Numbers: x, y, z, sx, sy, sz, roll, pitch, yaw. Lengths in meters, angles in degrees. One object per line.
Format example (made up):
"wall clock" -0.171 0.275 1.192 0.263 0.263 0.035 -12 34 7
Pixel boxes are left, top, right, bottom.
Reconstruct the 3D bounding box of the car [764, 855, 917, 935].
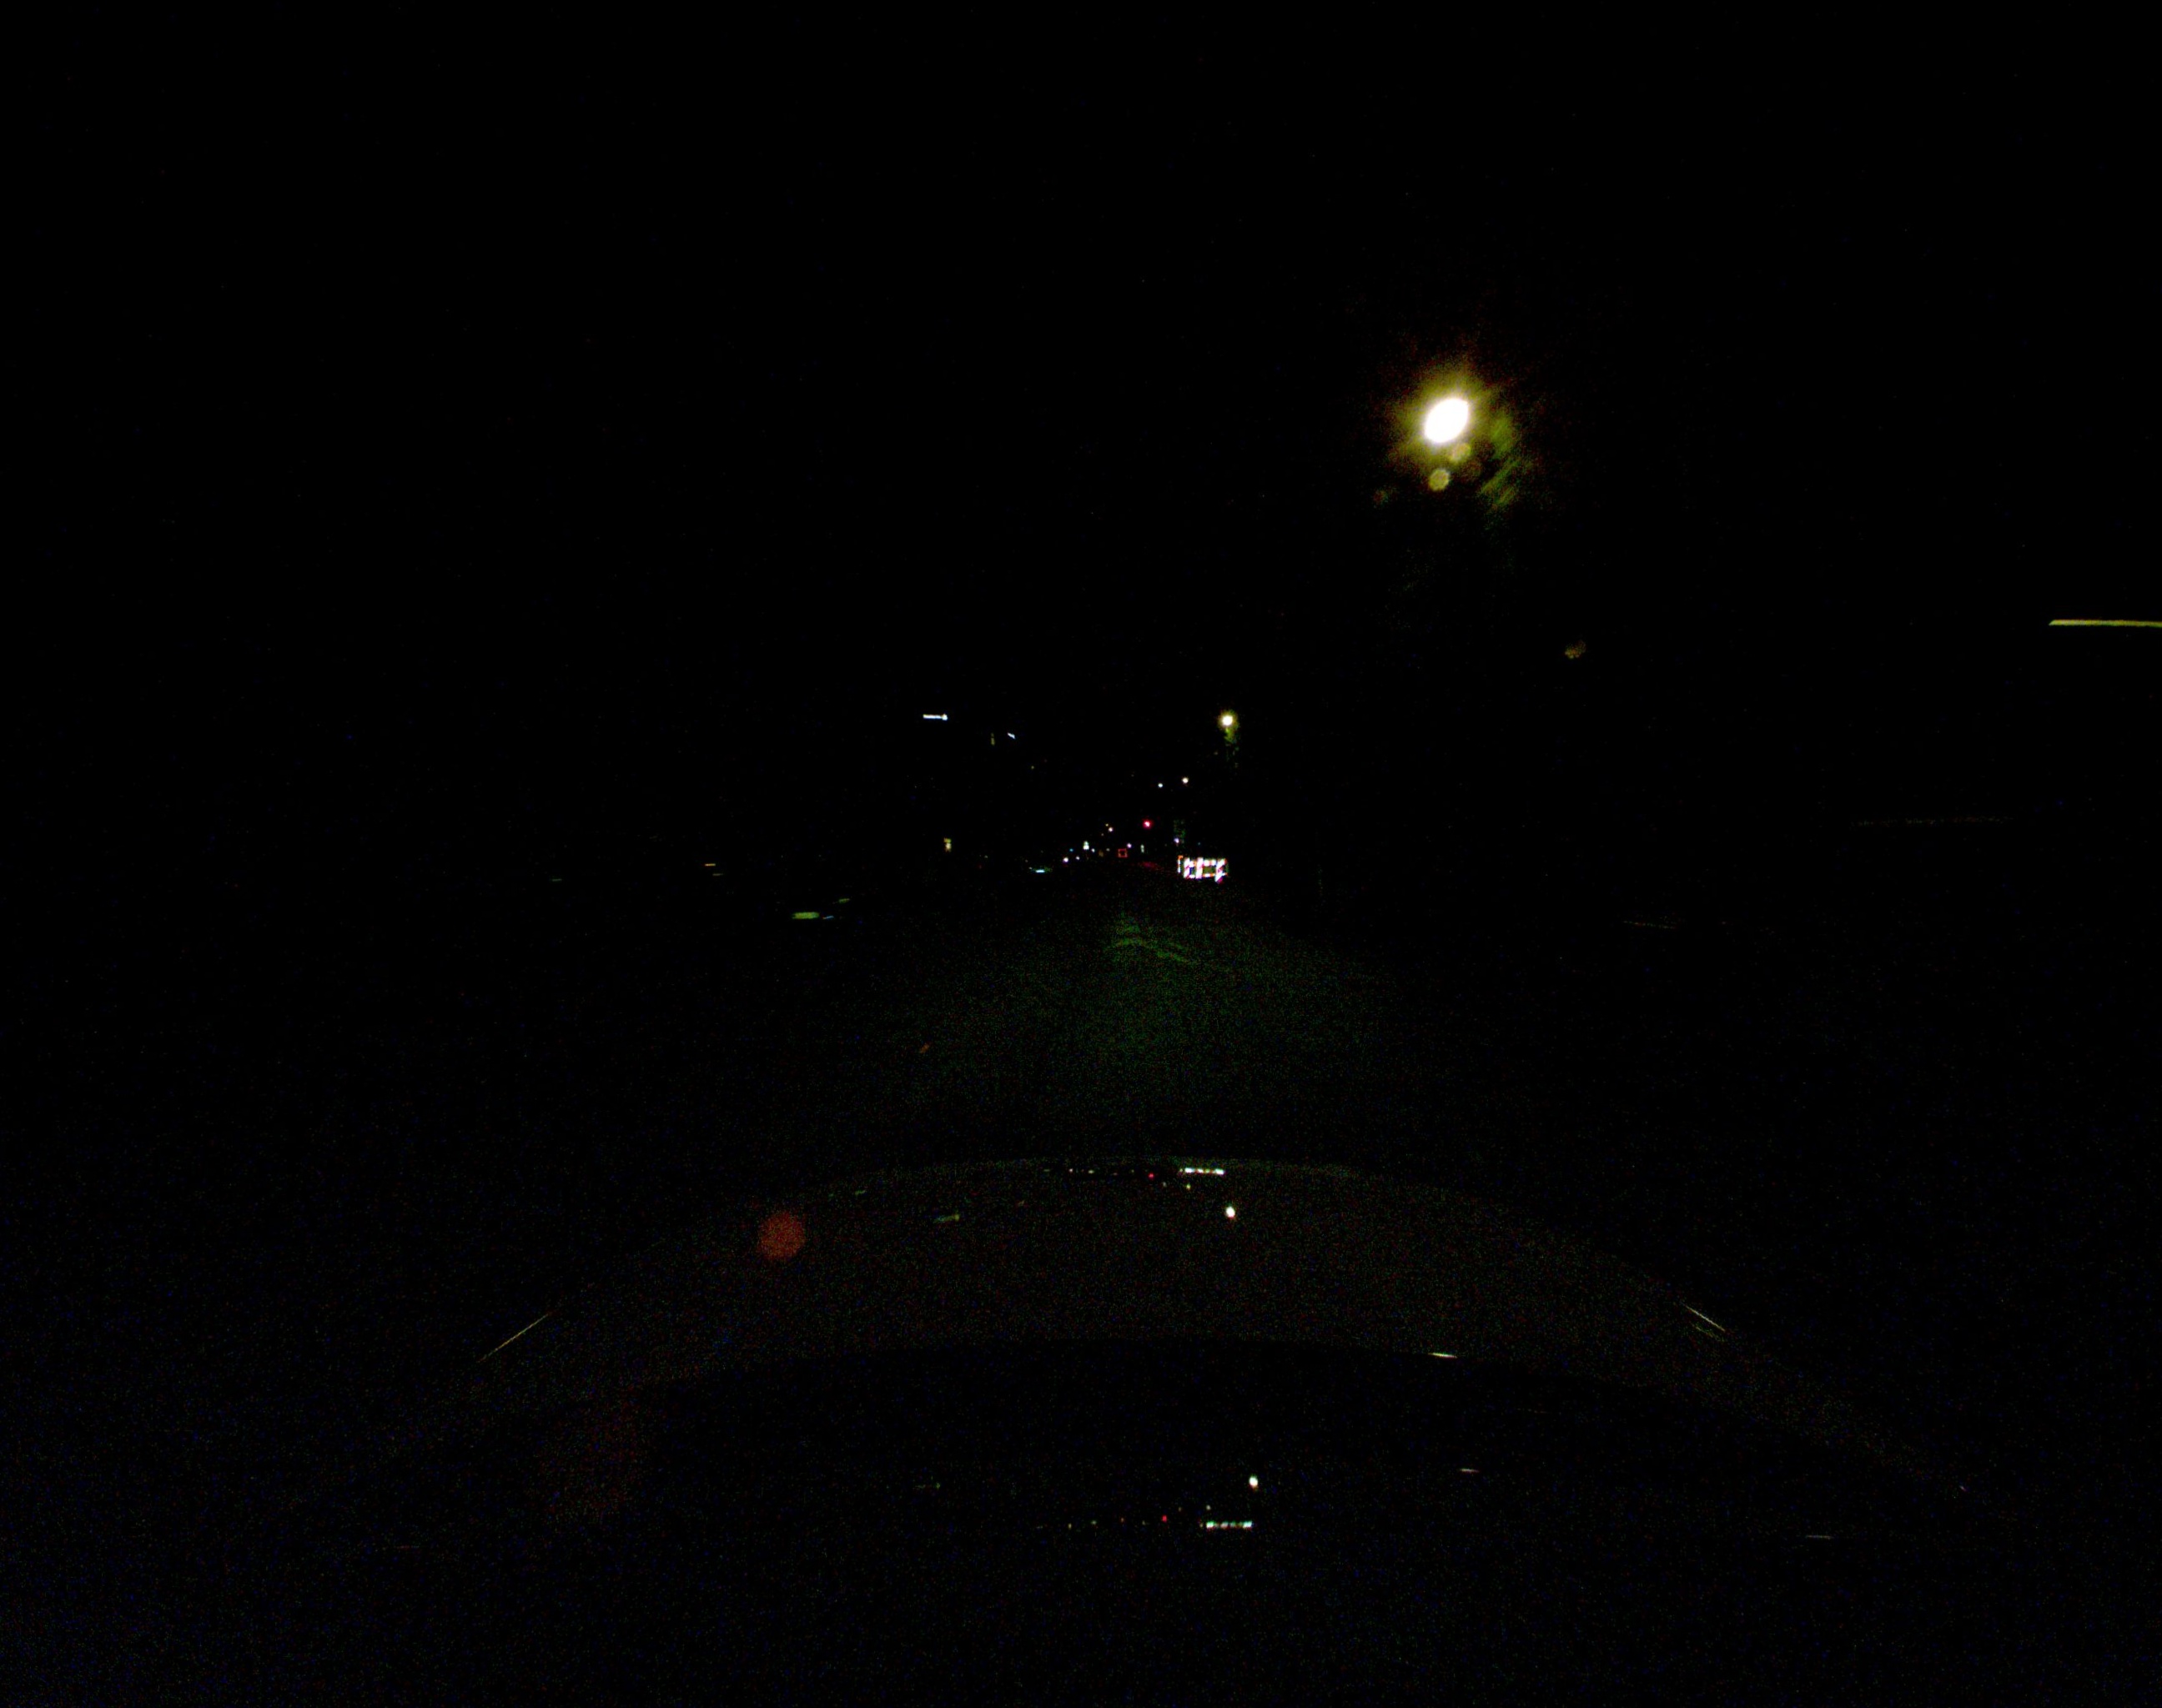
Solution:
"car" -5.209 0.821 18.282 1.746 1.526 4.329 -2 0 6

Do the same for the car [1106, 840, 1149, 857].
"car" 14.275 -1.710 251.837 12.386 4.709 4.793 -2 0 -10

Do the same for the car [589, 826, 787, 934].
"car" -9.744 0.564 20.772 1.982 2.321 4.977 -4 0 8

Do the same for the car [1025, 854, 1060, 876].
"car" -2.688 0.762 57.861 1.902 1.404 4.343 -2 0 5

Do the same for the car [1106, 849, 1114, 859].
"car" 8.488 0.039 239.645 1.988 2.974 3.998 -2 0 -1

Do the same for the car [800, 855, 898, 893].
"car" -10.853 0.910 38.244 3.970 1.571 1.819 -3 0 3

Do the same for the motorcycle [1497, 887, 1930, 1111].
"motorcycle" 4.056 0.844 5.466 2.157 1.183 0.773 0 0 35

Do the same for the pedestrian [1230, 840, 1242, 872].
"pedestrian" 9.206 0.112 48.410 0.567 1.852 0.821 -2 0 5

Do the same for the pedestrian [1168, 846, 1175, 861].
"pedestrian" 12.577 -0.093 113.105 0.738 1.981 0.623 -2 0 -13

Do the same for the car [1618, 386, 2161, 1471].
"car" 3.464 0.171 0.907 2.012 2.526 6.057 -1 0 3

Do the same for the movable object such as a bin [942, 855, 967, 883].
"movable object such as a bin" -7.047 0.816 45.494 1.160 1.496 1.066 -2 0 1

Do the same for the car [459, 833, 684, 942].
"car" -12.371 0.730 20.248 2.195 2.321 4.634 -2 0 8
